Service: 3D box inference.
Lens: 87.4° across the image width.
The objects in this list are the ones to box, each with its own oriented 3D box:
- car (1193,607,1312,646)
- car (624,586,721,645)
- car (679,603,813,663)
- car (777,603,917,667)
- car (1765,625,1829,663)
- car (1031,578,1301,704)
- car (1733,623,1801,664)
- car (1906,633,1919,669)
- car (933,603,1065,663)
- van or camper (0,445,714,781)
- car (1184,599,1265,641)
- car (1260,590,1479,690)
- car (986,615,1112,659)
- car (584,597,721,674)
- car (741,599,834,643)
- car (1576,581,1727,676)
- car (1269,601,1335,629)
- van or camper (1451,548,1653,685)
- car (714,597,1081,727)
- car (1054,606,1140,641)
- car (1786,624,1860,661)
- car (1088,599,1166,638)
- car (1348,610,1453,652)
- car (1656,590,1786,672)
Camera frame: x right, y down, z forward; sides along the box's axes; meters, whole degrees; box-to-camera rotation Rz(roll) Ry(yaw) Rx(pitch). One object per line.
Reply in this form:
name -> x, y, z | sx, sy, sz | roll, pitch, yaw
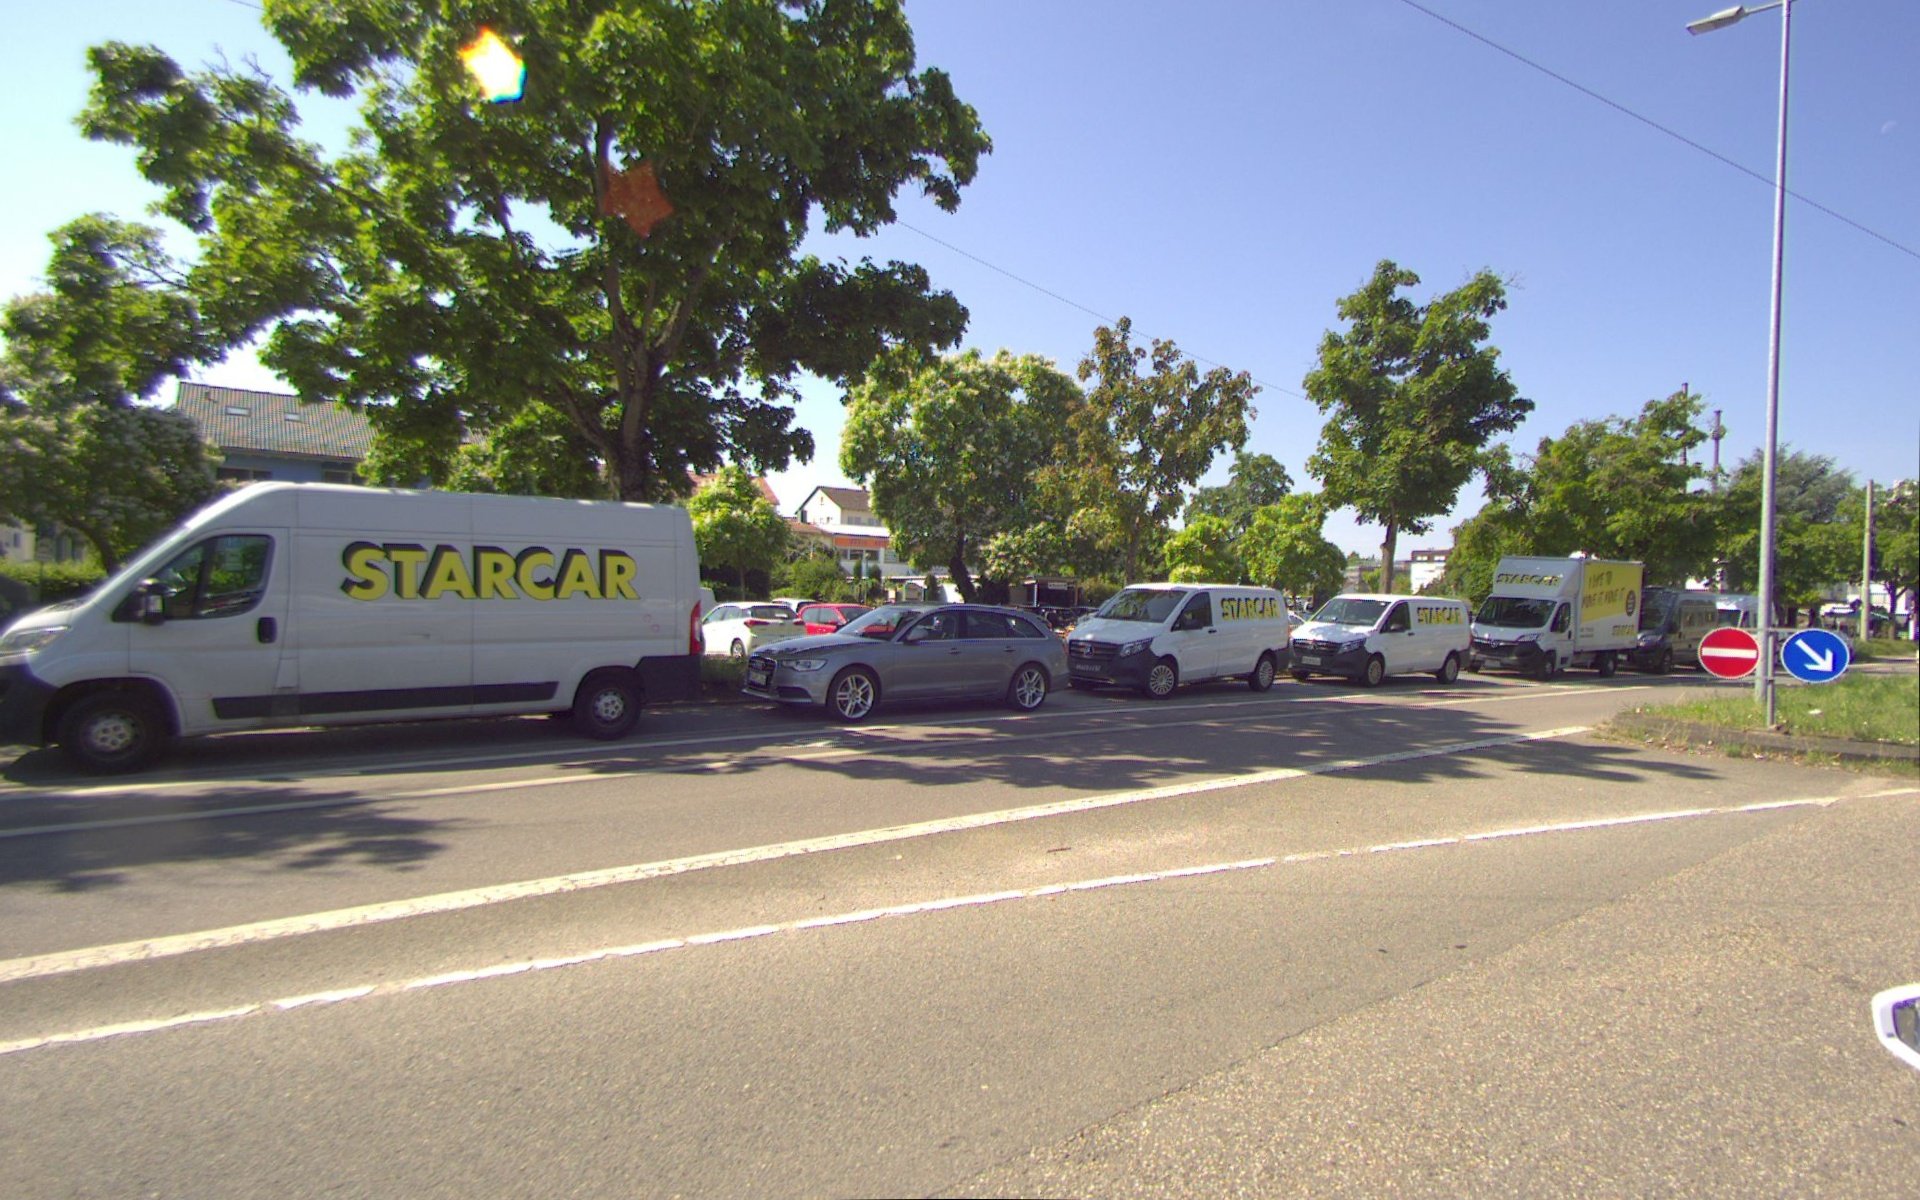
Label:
car -> 10.629, 0.930, 36.706 | 1.649, 1.287, 3.956 | 2, -1, -38
car -> -10.112, 0.513, 35.176 | 1.772, 1.916, 3.952 | 1, 0, -41
car -> -5.264, 0.754, 24.363 | 1.649, 1.287, 3.885 | 2, -1, -38
car -> -2.942, 0.844, 25.582 | 1.717, 1.428, 3.956 | 1, 0, -38
car -> 35.862, 1.871, 43.008 | 4.313, 1.510, 1.281 | 2, 0, -39
car -> 3.859, 0.671, 18.186 | 5.147, 1.966, 2.175 | 1, 0, -43
car -> 32.328, 1.716, 40.213 | 3.644, 1.510, 1.281 | 1, 2, -38
car -> 41.247, 2.142, 42.035 | 4.297, 1.441, 1.777 | 2, 0, -38
car -> 1.061, 0.913, 28.978 | 1.649, 1.564, 3.956 | 2, -1, -38
van or camper -> -5.814, 0.146, 10.124 | 6.090, 2.548, 2.241 | 1, 0, -37
car -> 14.732, 1.088, 56.094 | 1.896, 2.229, 3.952 | 1, 0, -41
car -> 9.152, 0.839, 22.253 | 5.137, 1.966, 2.180 | 2, 0, -37
car -> 2.652, 1.110, 30.727 | 1.649, 1.169, 3.858 | 2, -1, -38
car -> -7.059, 0.748, 22.804 | 1.649, 1.564, 3.956 | 2, -1, -38
car -> -6.755, 0.784, 39.116 | 1.772, 1.565, 3.952 | 1, 0, -41
car -> 22.170, 0.879, 32.113 | 6.026, 2.704, 2.179 | 1, 2, -38
car -> 28.529, 1.268, 83.876 | 2.084, 2.203, 4.887 | 2, -1, -40
van or camper -> 16.100, 0.428, 27.122 | 6.709, 3.285, 2.179 | 1, 2, -37
car -> -0.721, 0.763, 13.854 | 4.843, 1.474, 1.917 | 1, 0, -39
car -> 6.653, 1.139, 48.990 | 1.772, 1.565, 3.952 | 1, 0, -41
car -> 39.843, 1.946, 46.342 | 4.574, 1.510, 1.592 | 1, 2, -37
car -> 9.146, 0.984, 55.266 | 1.896, 2.030, 3.952 | 1, 0, -41
car -> 19.552, 1.353, 44.685 | 1.650, 1.717, 3.954 | 2, -1, -39
car -> 27.451, 1.079, 36.159 | 5.926, 2.666, 2.179 | 1, 2, -38
